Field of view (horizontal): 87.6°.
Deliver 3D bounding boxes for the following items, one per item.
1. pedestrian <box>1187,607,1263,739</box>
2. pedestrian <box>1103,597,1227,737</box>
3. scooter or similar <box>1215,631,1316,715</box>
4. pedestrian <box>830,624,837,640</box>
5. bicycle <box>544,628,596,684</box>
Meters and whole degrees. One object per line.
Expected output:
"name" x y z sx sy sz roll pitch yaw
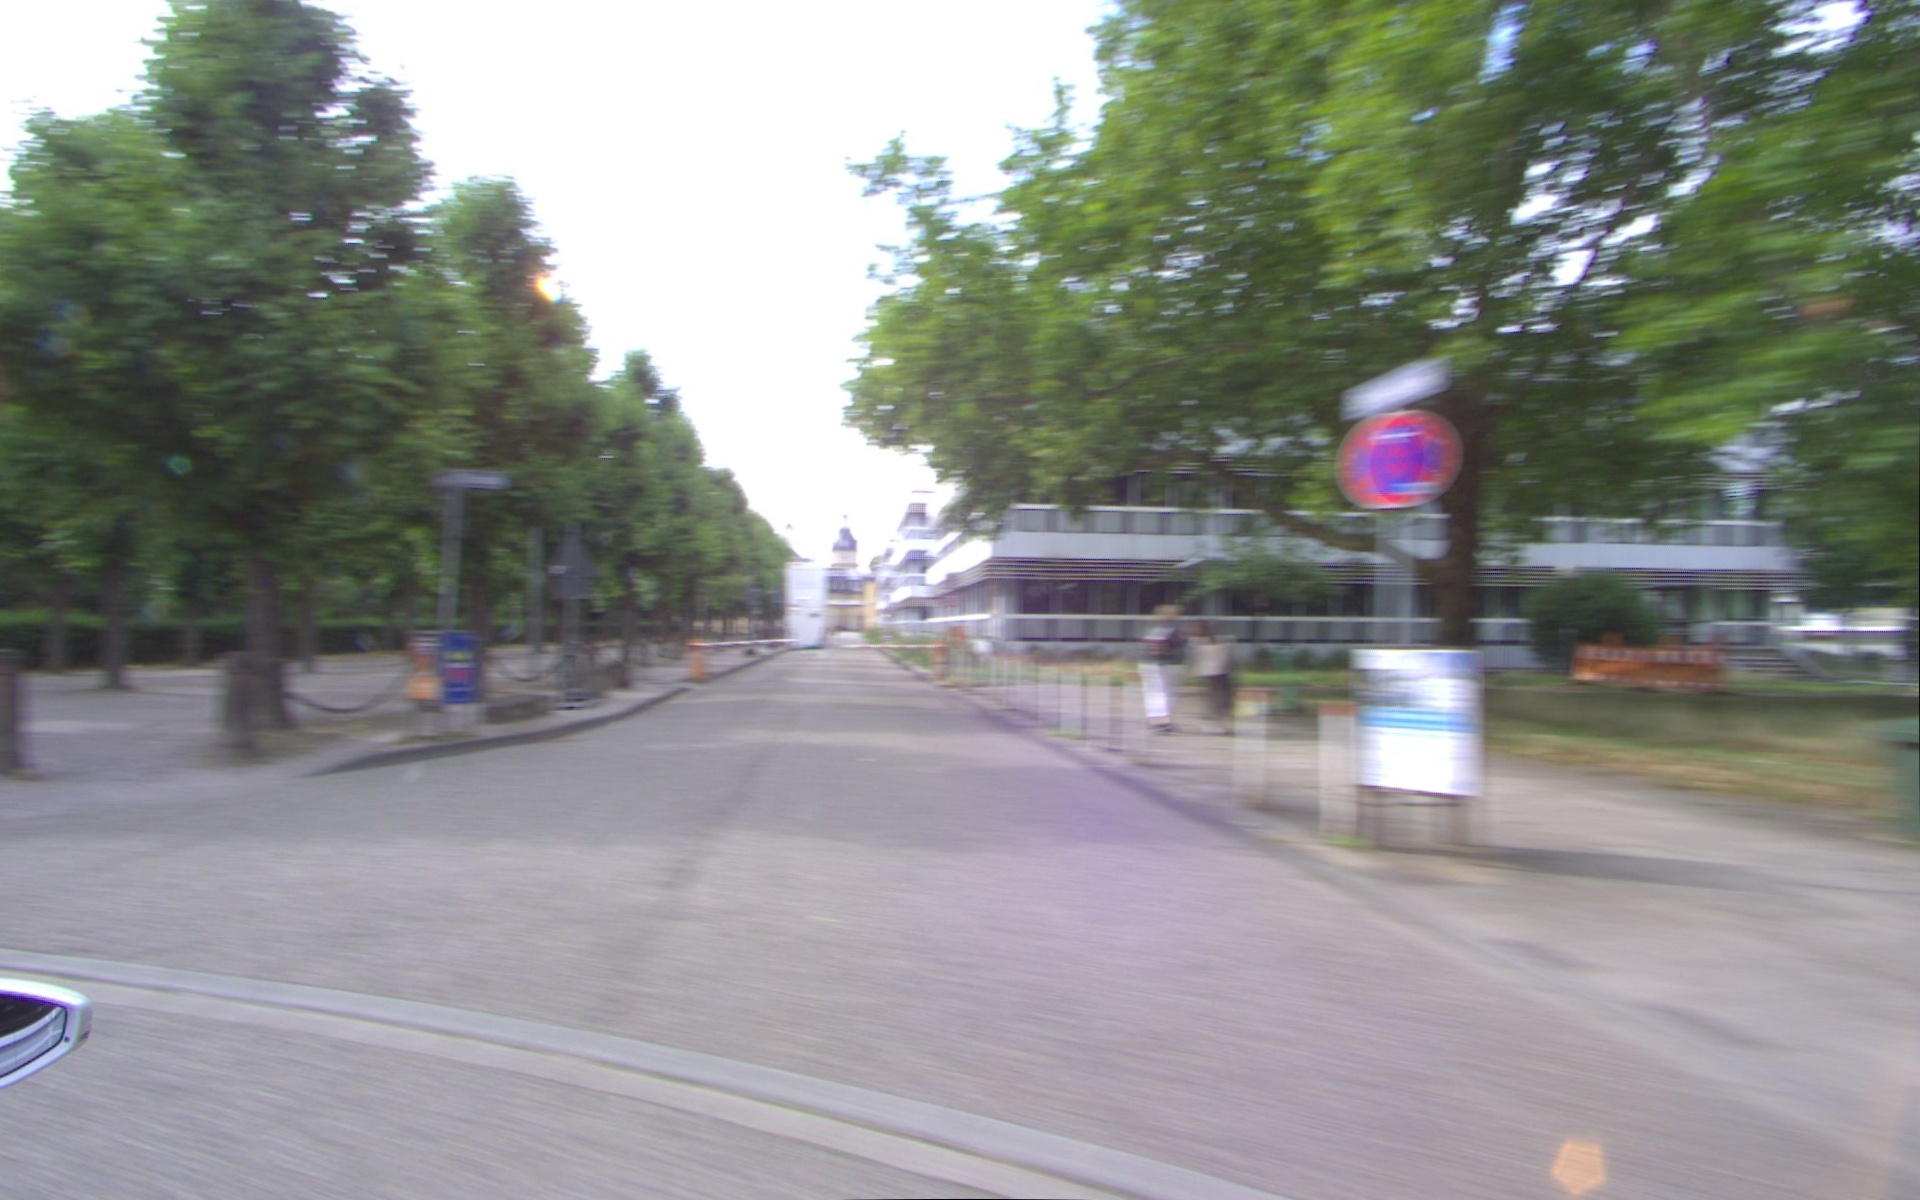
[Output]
"pedestrian" 3.502 0.948 13.308 0.882 1.662 0.852 2 0 12
"pedestrian" 2.730 0.878 13.368 1.237 1.764 0.959 3 -1 -27
"scooter or similar" 4.948 1.181 16.232 1.428 1.285 0.569 2 0 -11
"pedestrian" -13.000 3.305 103.007 0.453 1.646 0.630 2 0 -20
"bicycle" -8.809 1.231 22.556 0.940 1.124 2.570 3 -1 -24
